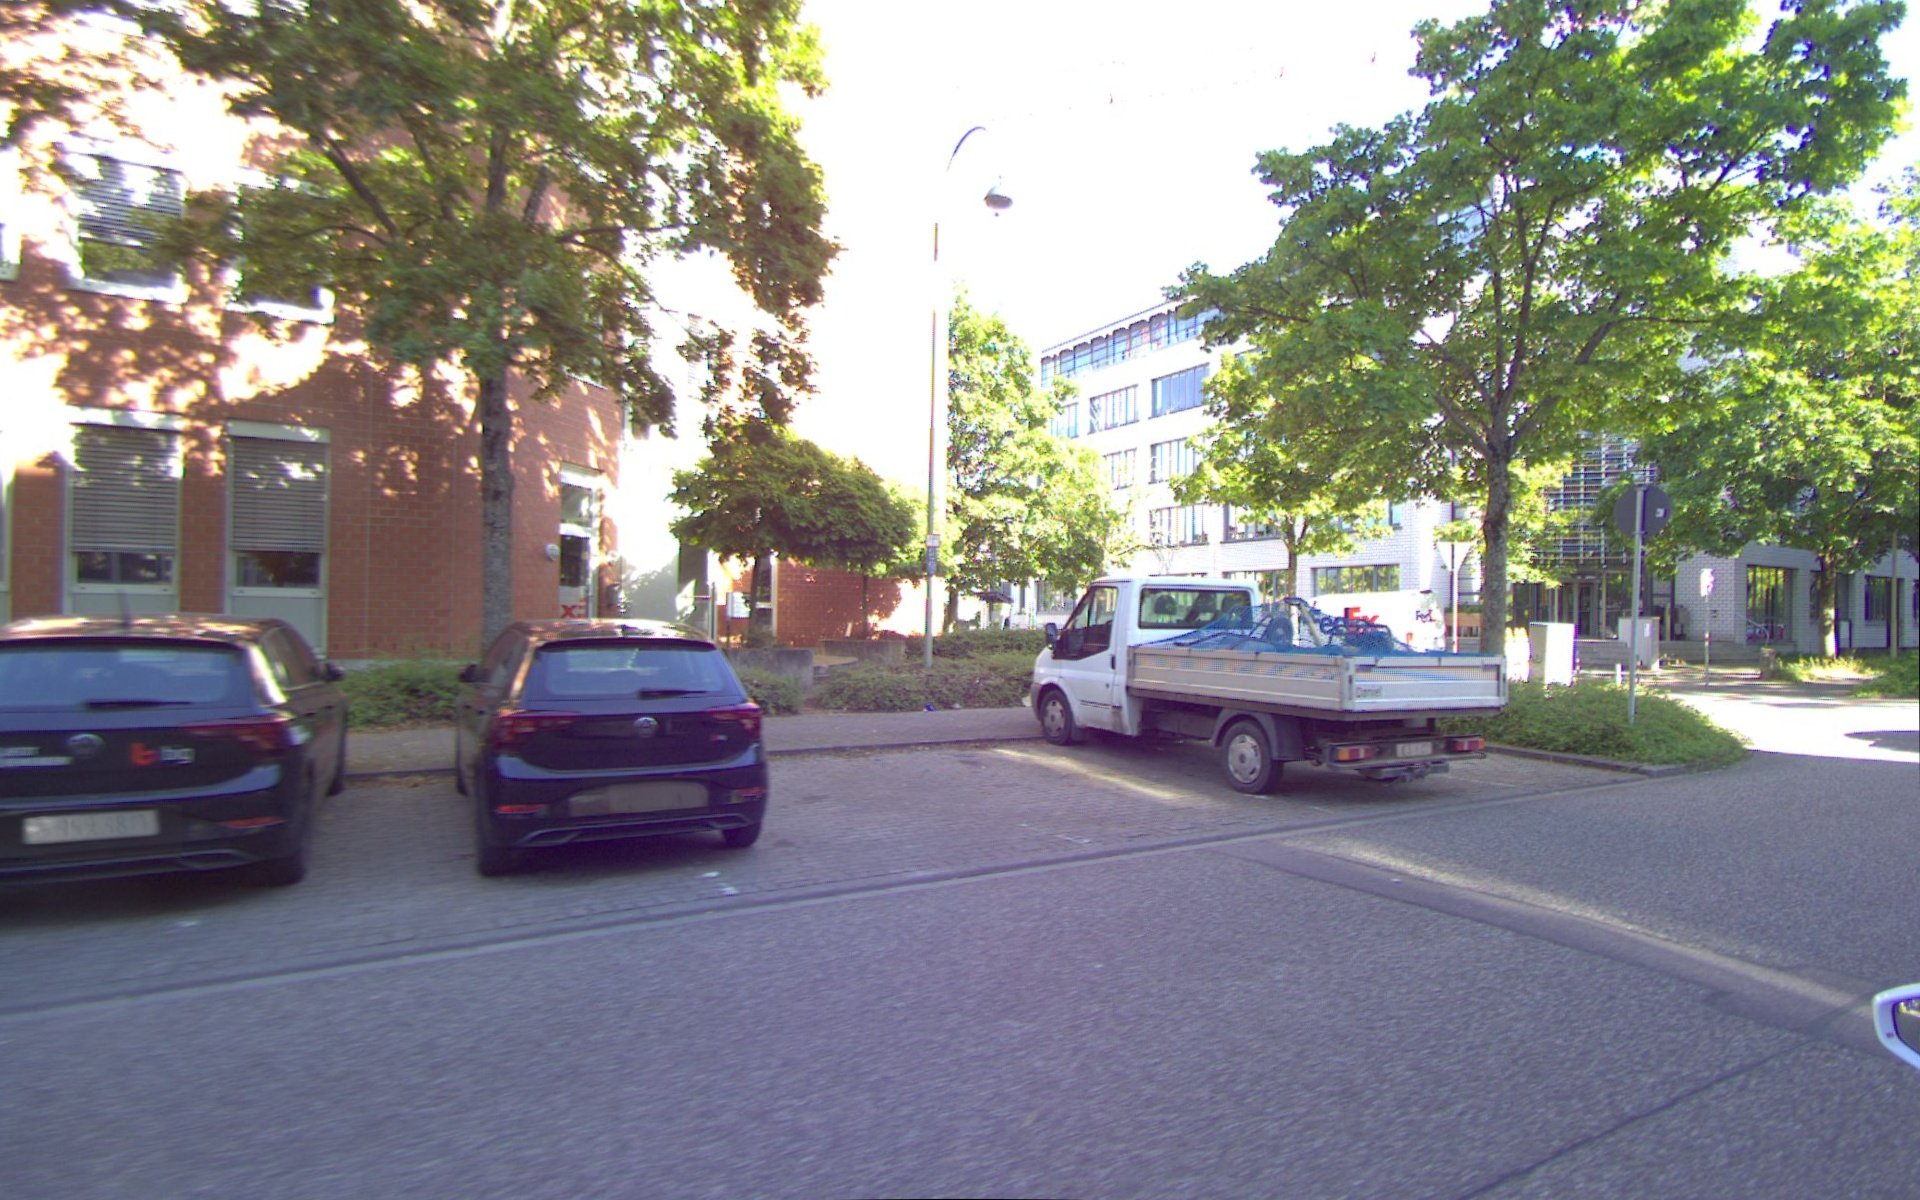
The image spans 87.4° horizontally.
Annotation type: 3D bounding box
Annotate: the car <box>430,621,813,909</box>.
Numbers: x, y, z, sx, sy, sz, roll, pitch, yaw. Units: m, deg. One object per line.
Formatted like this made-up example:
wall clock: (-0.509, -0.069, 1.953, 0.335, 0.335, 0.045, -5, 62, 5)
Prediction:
car: (-2.704, 0.904, 7.359, 1.770, 1.454, 3.965, 1, -1, -32)

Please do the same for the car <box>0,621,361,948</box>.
car: (-4.887, 0.866, 6.422, 1.701, 1.454, 3.969, 1, -2, -30)

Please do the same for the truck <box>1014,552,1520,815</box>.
truck: (2.729, 0.697, 10.315, 2.111, 1.985, 4.965, 1, -2, -28)

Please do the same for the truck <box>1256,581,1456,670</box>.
truck: (13.371, 0.871, 34.394, 2.549, 2.740, 6.072, 1, -2, -31)
